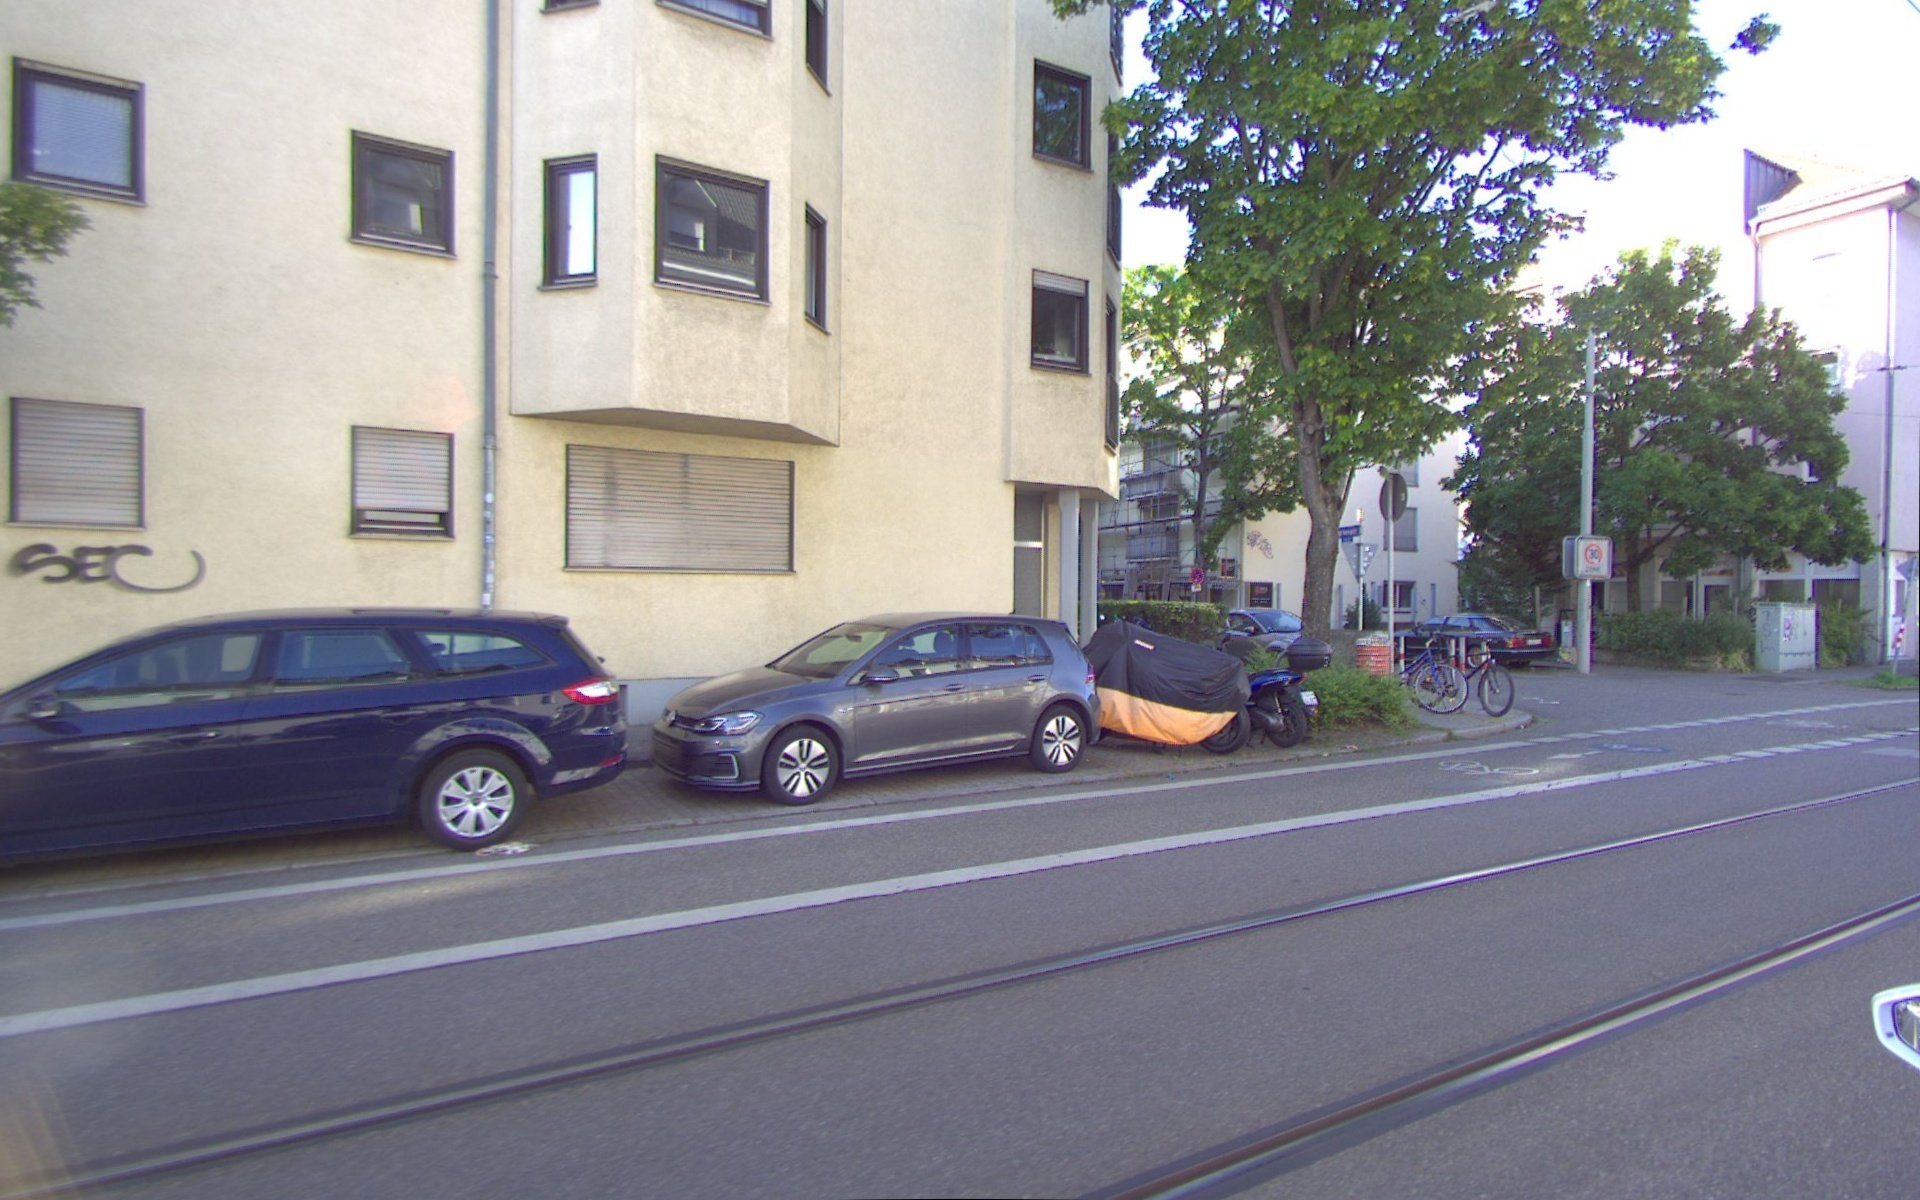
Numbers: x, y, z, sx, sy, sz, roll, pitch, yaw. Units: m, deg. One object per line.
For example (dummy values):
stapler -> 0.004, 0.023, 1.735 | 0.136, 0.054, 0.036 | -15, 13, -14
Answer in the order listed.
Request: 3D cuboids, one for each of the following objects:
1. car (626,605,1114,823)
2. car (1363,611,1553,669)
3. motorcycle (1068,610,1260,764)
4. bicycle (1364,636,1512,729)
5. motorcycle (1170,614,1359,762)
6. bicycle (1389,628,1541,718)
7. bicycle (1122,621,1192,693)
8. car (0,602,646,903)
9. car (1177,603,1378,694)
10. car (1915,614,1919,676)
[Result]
car -> -0.723, 0.844, 9.081 | 4.084, 1.563, 1.725 | 1, 0, -33
car -> 13.191, 1.019, 26.942 | 1.690, 1.406, 4.542 | 1, -1, -24
motorcycle -> 2.119, 0.846, 10.677 | 0.828, 1.466, 1.954 | 0, 0, -36
bicycle -> 6.359, 1.061, 13.463 | 0.588, 1.099, 1.798 | 0, 0, -28
motorcycle -> 3.291, 0.894, 11.048 | 0.714, 1.466, 1.954 | 0, 0, -36
bicycle -> 6.847, 0.958, 13.734 | 0.588, 1.099, 1.869 | 0, 0, -28
bicycle -> 3.421, 0.969, 17.570 | 0.328, 1.159, 1.381 | 0, 1, -32
car -> -4.602, 0.807, 6.476 | 4.676, 1.563, 1.757 | 1, 0, -29
car -> 6.583, 0.938, 21.263 | 1.883, 1.682, 3.975 | -2, 0, -25
car -> 24.576, 1.101, 23.836 | 3.953, 1.462, 1.735 | 0, 2, -31
